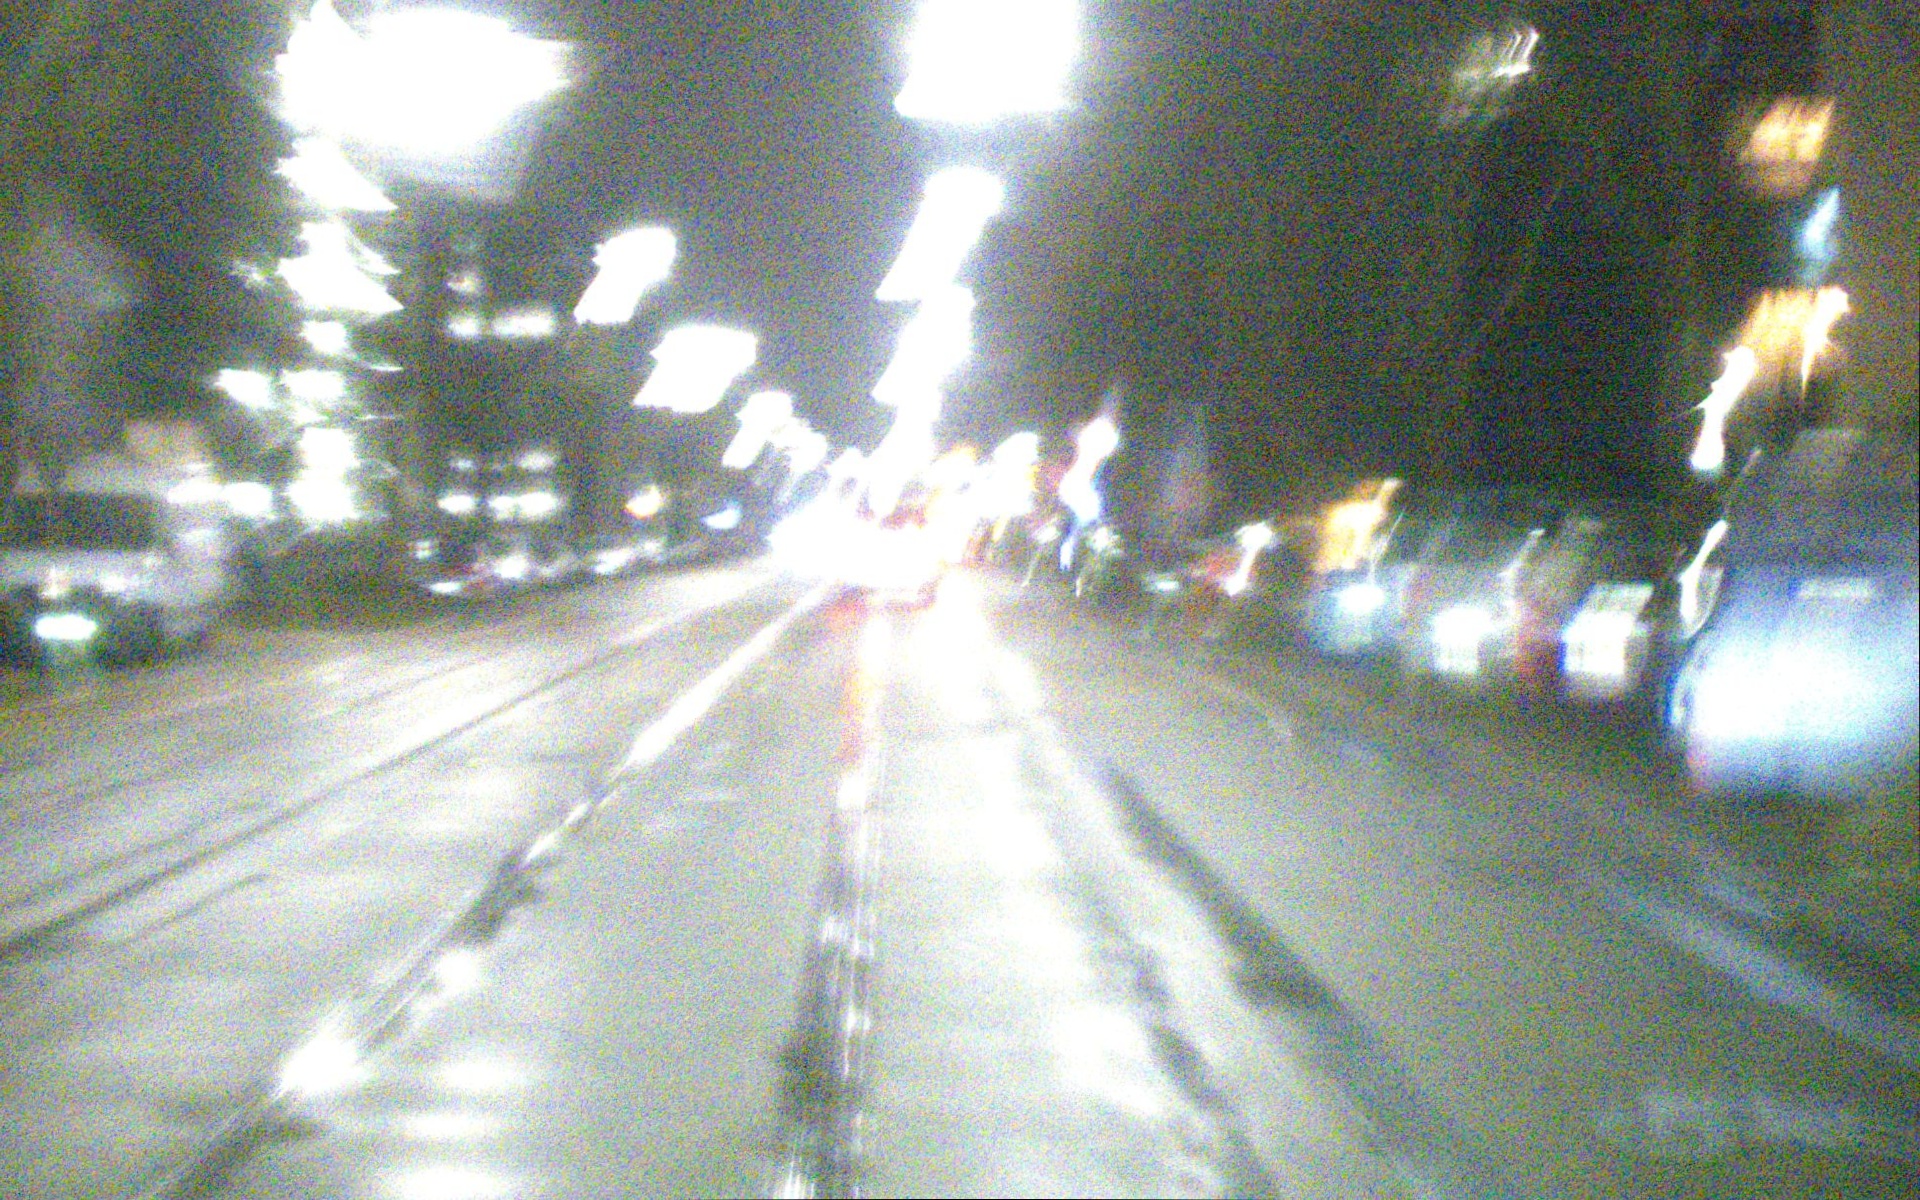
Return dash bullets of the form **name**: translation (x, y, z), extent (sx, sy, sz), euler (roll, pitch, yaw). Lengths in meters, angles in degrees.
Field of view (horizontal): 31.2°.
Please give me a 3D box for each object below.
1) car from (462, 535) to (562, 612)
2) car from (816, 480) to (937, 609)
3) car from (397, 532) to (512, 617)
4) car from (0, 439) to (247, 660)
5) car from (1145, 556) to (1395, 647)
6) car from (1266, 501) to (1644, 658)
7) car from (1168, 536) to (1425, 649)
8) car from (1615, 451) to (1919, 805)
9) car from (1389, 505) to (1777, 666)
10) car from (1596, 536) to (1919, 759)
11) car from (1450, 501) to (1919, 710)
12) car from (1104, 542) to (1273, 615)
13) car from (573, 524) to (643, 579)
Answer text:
- **car**: translation (-11.049, -0.651, 84.967), extent (1.999, 1.779, 4.000), euler (2, 0, -2)
- **car**: translation (-1.695, -1.107, 67.932), extent (2.216, 2.433, 5.385), euler (1, 1, -3)
- **car**: translation (-11.194, -0.574, 76.425), extent (2.108, 1.758, 4.966), euler (2, 0, -4)
- **car**: translation (-10.255, -0.656, 42.454), extent (2.024, 2.490, 5.609), euler (2, 1, -4)
- **car**: translation (5.300, 0.034, 58.429), extent (1.950, 1.449, 4.237), euler (2, 1, 45)
- **car**: translation (5.175, -0.227, 35.707), extent (3.878, 1.528, 1.821), euler (0, 2, -42)
- **car**: translation (5.172, -0.115, 52.579), extent (2.054, 1.618, 3.819), euler (2, 1, 41)
- **car**: translation (5.929, 0.135, 20.101), extent (4.162, 1.833, 1.962), euler (1, 2, -43)
- **car**: translation (6.017, -0.135, 32.972), extent (1.820, 1.428, 3.846), euler (2, 1, 43)
- **car**: translation (6.049, 0.288, 23.103), extent (3.327, 1.380, 1.631), euler (0, 1, -36)
- **car**: translation (5.684, -0.025, 26.386), extent (1.691, 1.399, 4.447), euler (2, 3, 40)
- **car**: translation (5.194, -0.486, 77.931), extent (1.909, 1.567, 3.953), euler (2, 1, 38)
- **car**: translation (-11.869, -1.622, 116.074), extent (2.022, 1.755, 4.000), euler (2, 0, -2)
